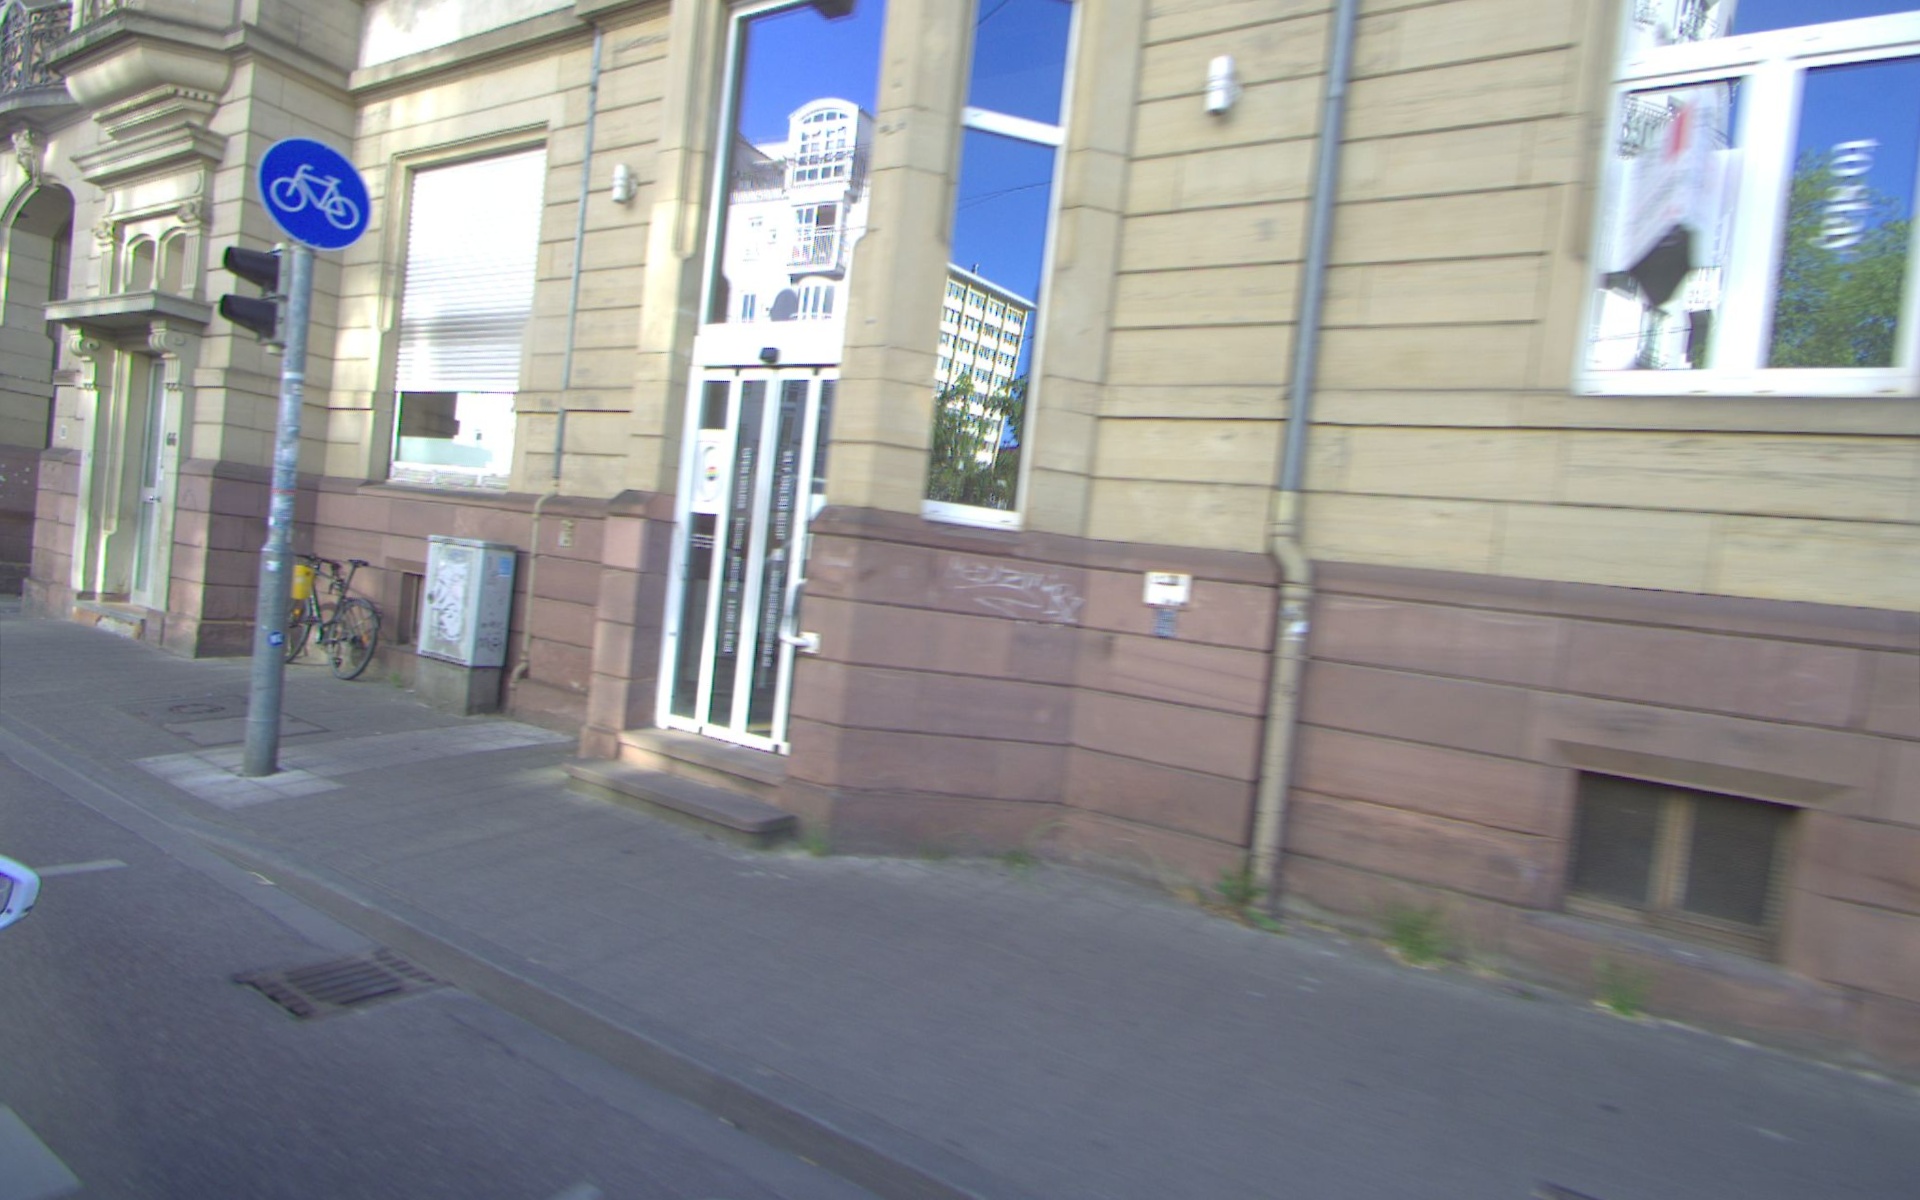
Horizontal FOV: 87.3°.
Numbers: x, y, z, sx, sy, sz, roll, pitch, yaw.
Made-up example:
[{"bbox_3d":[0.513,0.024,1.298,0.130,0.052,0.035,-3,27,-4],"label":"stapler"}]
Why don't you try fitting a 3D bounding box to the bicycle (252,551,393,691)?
[{"bbox_3d":[-5.809,0.166,9.130,1.740,1.065,0.256,7,0,32],"label":"bicycle"}]
